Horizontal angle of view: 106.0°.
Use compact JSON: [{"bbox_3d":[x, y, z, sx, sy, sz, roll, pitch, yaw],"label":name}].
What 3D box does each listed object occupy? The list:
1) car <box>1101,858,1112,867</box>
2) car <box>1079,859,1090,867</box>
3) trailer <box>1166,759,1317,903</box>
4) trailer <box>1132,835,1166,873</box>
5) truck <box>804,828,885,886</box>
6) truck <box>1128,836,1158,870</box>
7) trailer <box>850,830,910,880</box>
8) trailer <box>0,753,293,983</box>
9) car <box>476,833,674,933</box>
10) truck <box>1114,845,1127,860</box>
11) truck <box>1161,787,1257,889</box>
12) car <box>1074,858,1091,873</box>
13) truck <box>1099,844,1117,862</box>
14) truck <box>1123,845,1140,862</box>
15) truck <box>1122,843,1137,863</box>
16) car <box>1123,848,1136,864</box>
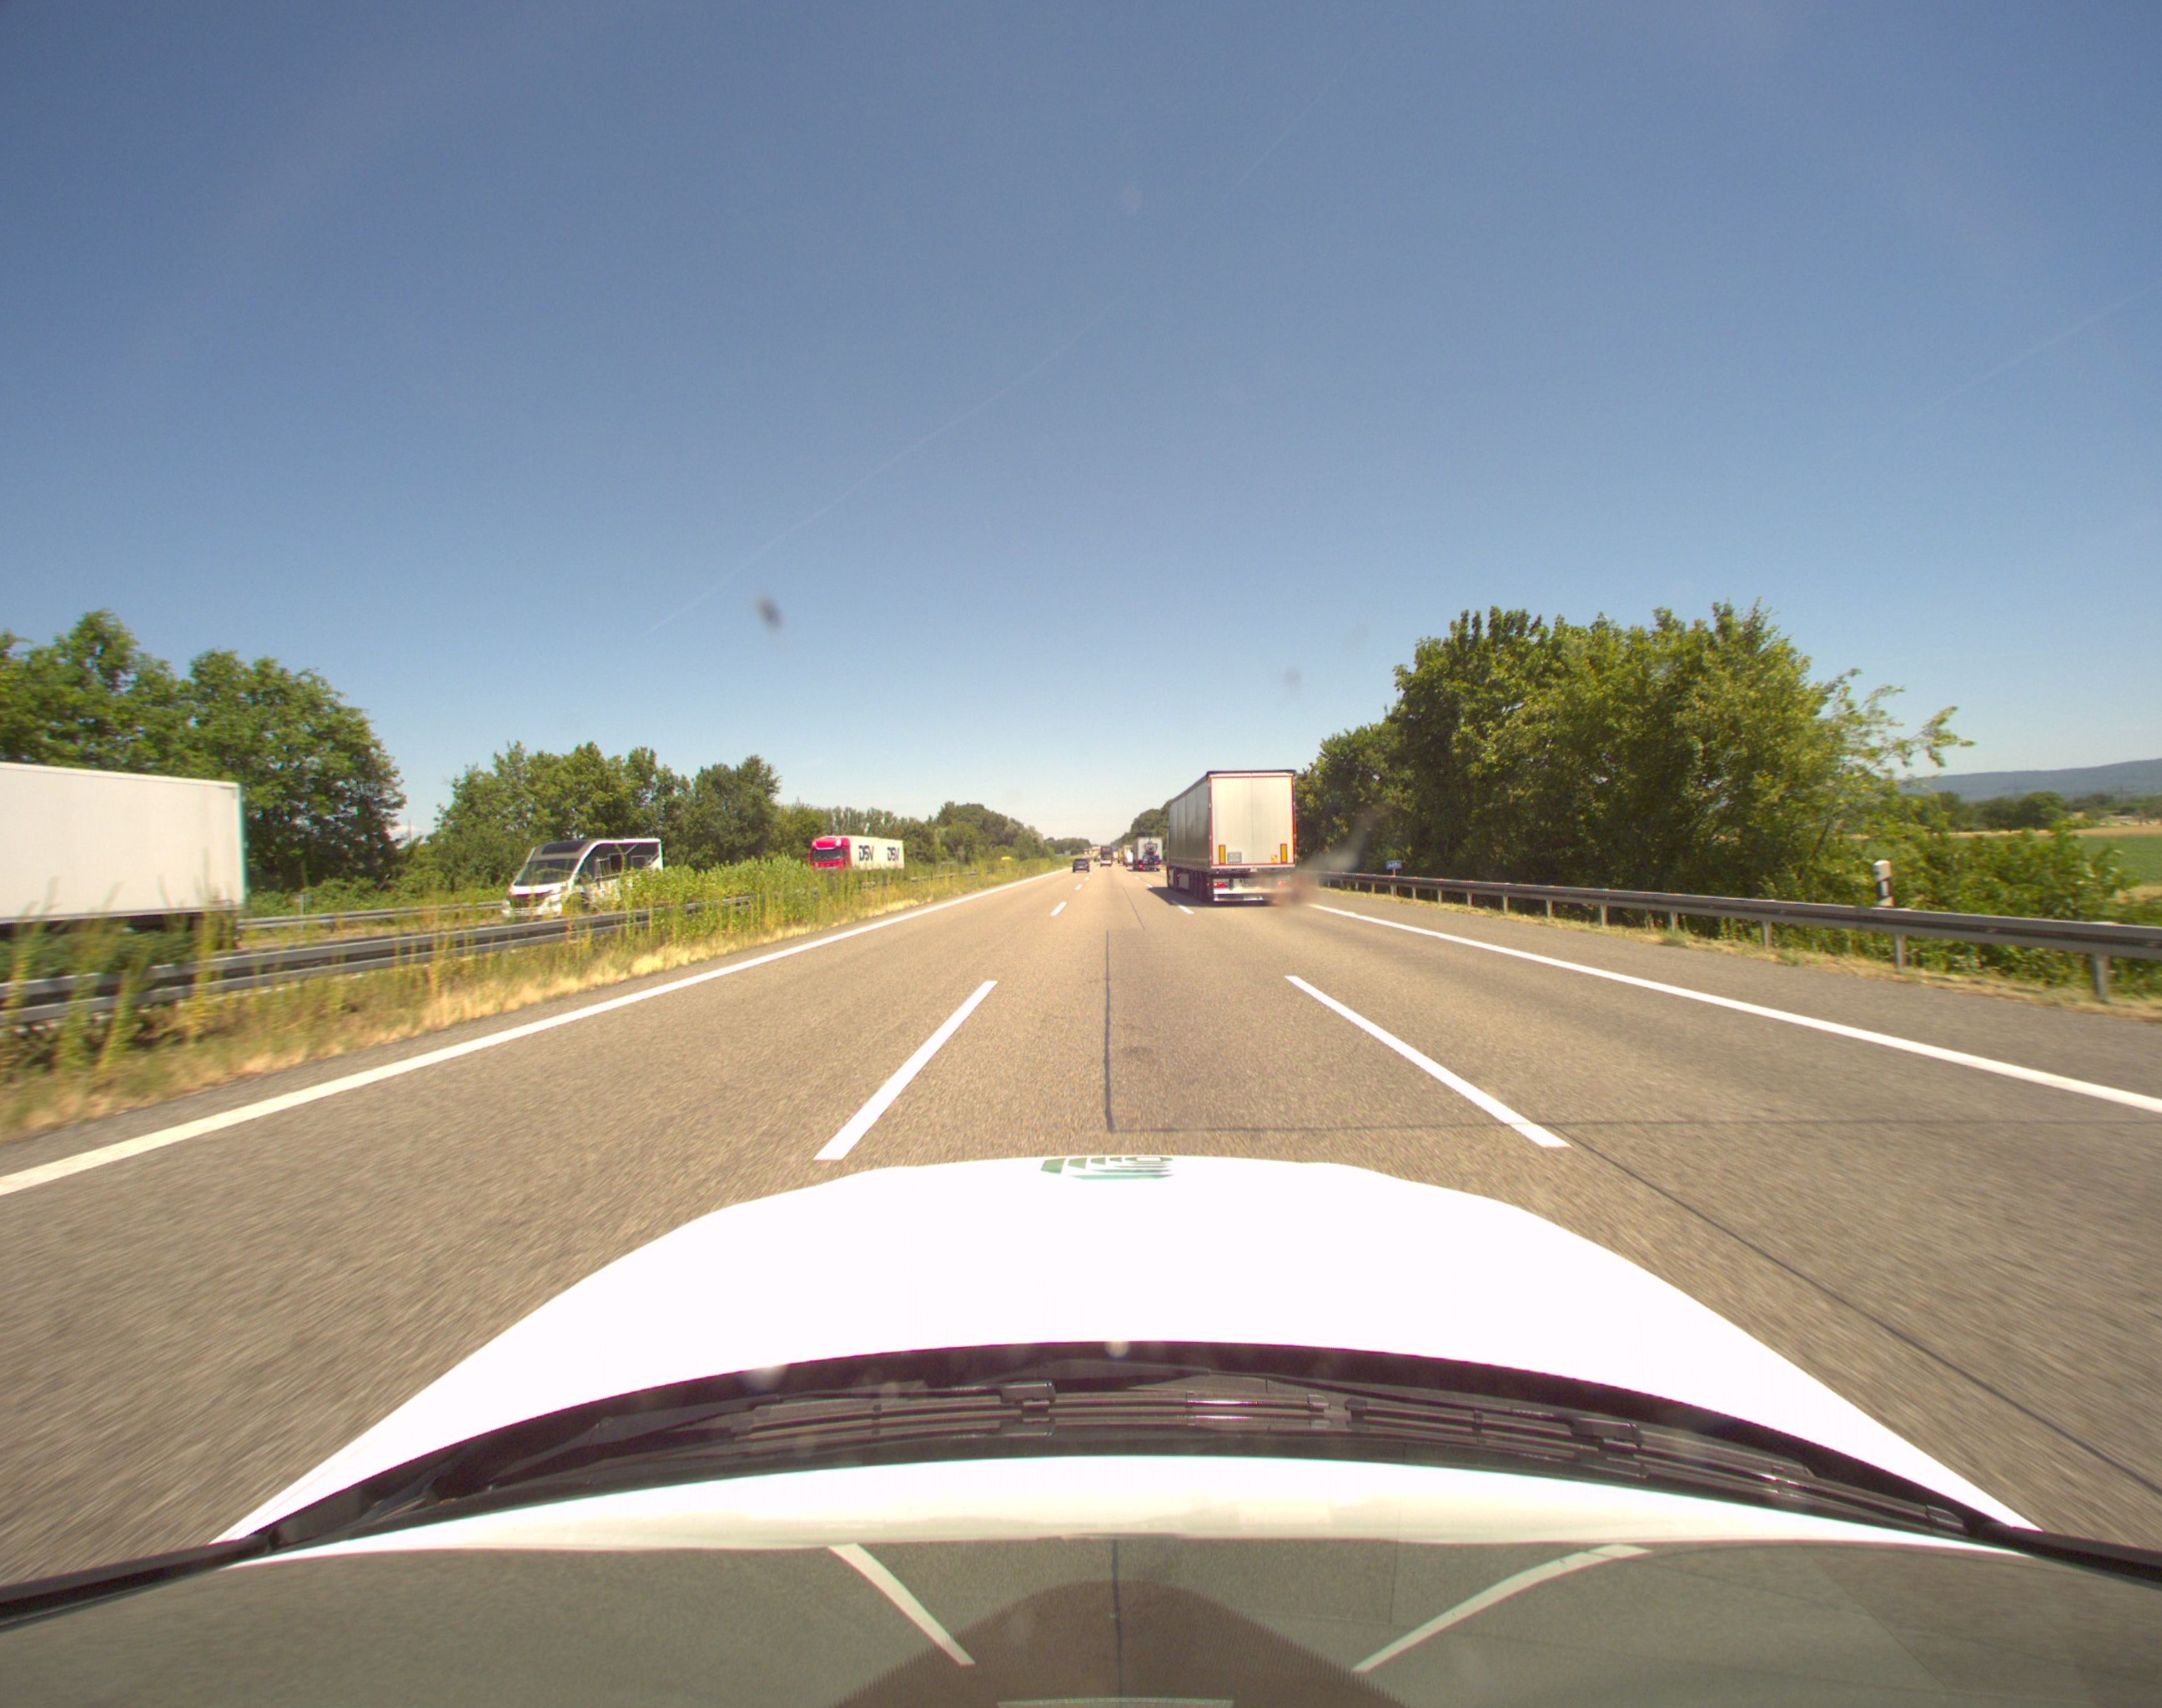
[{"bbox_3d":[4.341,1.423,139.713,1.893,1.531,4.086,0,1,2],"label":"car"},{"bbox_3d":[0.697,1.633,148.886,1.893,1.531,4.086,0,1,2],"label":"car"},{"bbox_3d":[5.357,-0.652,30.433,3.421,4.181,13.639,0,0,2],"label":"trailer"},{"bbox_3d":[7.346,-0.058,89.076,3.111,3.926,9.938,0,1,1],"label":"trailer"},{"bbox_3d":[-18.968,0.184,66.151,3.059,4.310,10.633,0,1,2],"label":"truck"},{"bbox_3d":[7.459,-0.195,98.946,3.047,3.879,10.035,0,1,1],"label":"truck"},{"bbox_3d":[-18.570,0.043,75.989,3.036,4.325,9.036,-1,1,2],"label":"trailer"},{"bbox_3d":[-20.562,0.281,13.332,3.036,4.038,12.239,-1,1,2],"label":"trailer"},{"bbox_3d":[-16.362,0.841,26.968,2.321,2.822,6.607,-2,0,0],"label":"car"},{"bbox_3d":[10.616,-0.448,218.343,3.475,3.725,7.114,0,1,3],"label":"truck"},{"bbox_3d":[5.582,-0.596,36.814,3.451,4.177,6.846,0,-1,2],"label":"truck"},{"bbox_3d":[0.166,1.225,87.577,1.752,1.531,4.287,0,1,2],"label":"car"},{"bbox_3d":[5.854,-0.192,175.674,3.652,3.725,7.114,0,1,3],"label":"truck"},{"bbox_3d":[10.826,-0.177,175.897,3.652,3.725,7.114,0,1,3],"label":"truck"},{"bbox_3d":[9.297,-0.225,156.408,2.781,3.725,7.114,0,1,3],"label":"truck"},{"bbox_3d":[7.819,0.339,131.202,1.900,2.425,4.287,0,1,2],"label":"car"}]
